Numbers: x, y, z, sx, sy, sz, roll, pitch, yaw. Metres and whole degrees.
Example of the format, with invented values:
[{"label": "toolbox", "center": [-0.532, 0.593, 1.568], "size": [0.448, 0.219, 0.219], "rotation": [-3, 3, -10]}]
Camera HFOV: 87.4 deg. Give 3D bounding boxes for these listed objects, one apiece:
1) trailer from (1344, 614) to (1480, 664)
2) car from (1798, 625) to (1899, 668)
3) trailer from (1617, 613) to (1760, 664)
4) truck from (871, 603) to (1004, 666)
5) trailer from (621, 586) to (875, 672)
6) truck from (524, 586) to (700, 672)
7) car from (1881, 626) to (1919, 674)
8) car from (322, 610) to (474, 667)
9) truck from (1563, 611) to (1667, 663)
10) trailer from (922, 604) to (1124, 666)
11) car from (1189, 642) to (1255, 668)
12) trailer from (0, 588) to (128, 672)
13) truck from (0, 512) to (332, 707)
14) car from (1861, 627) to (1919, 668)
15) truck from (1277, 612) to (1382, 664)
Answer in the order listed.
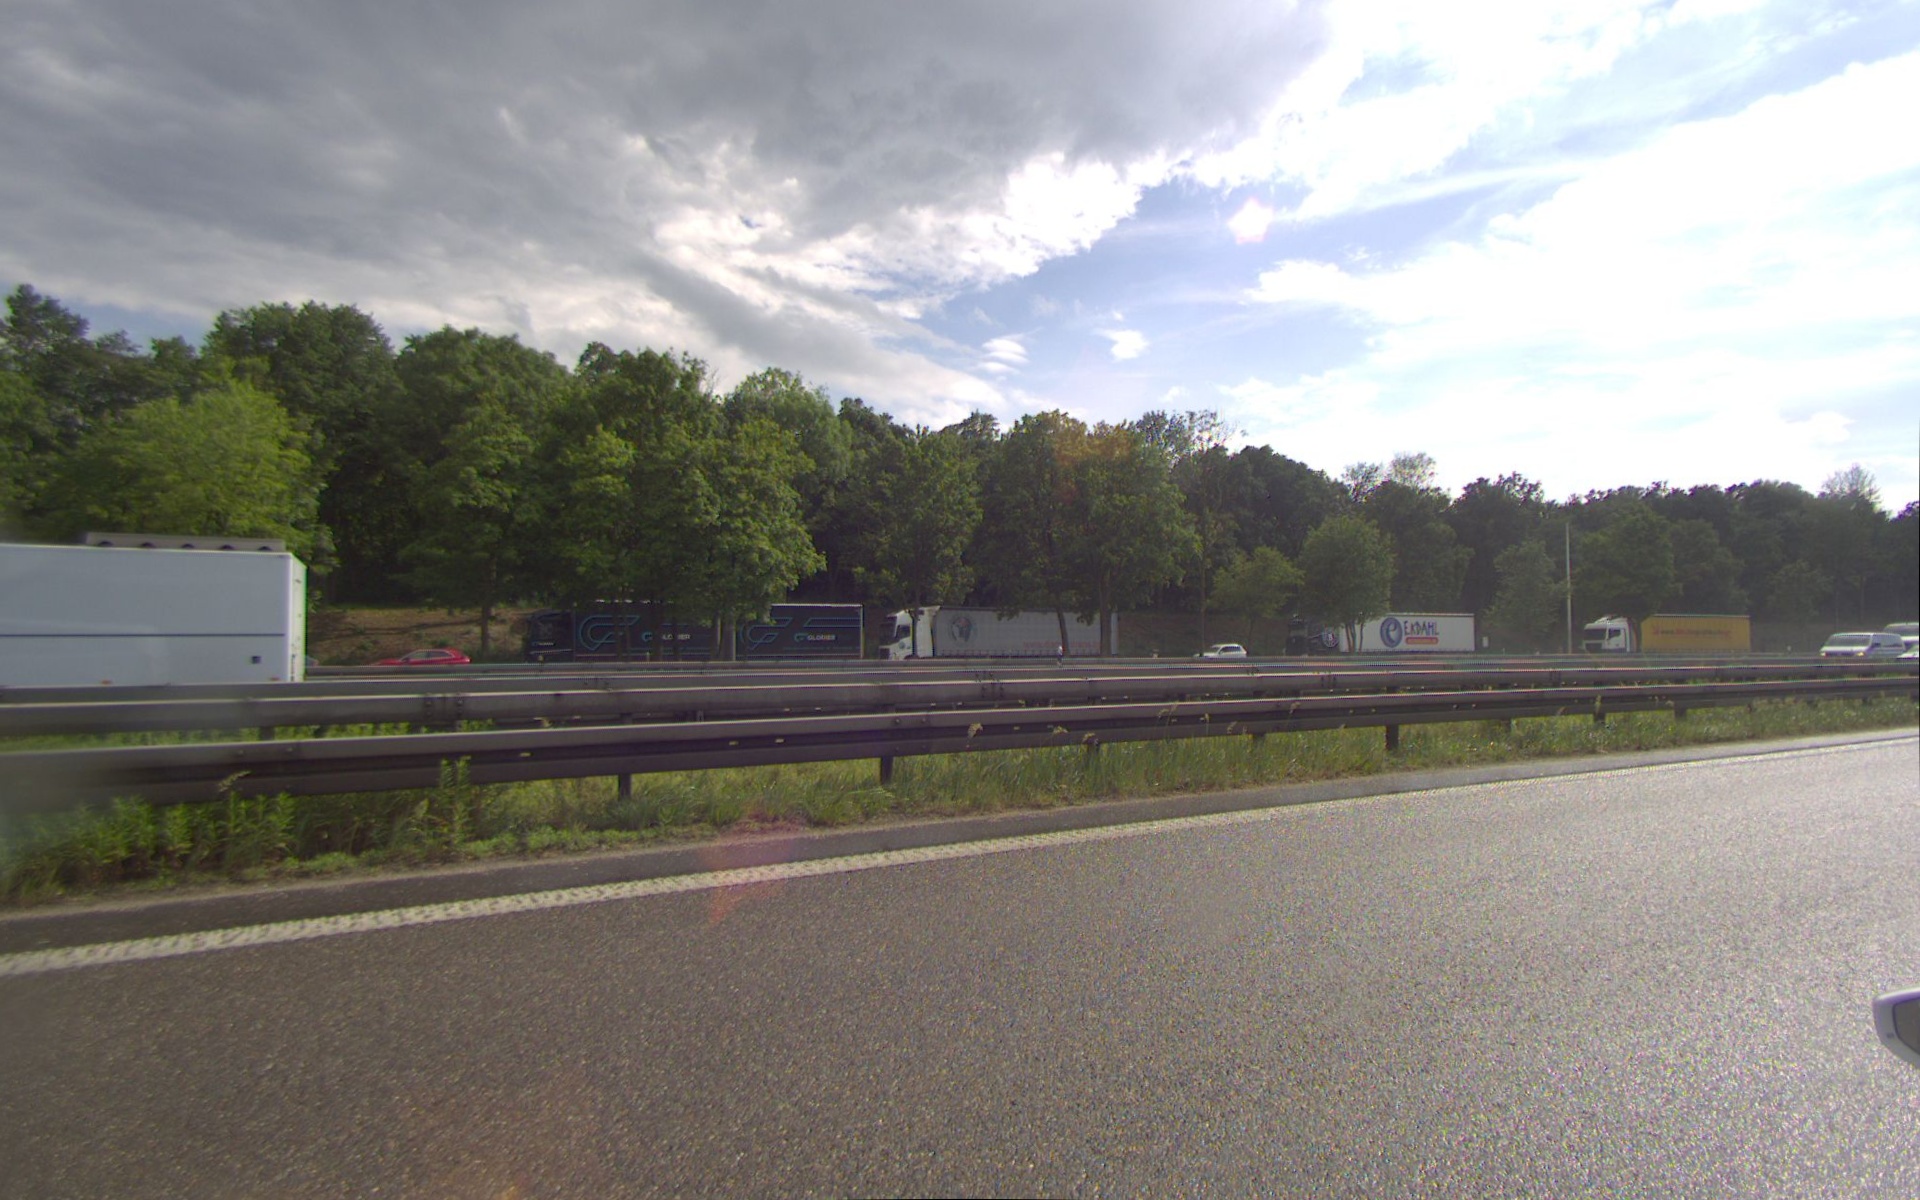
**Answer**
[{"label": "trailer", "center": [35.541, 3.052, 78.959], "size": [10.344, 3.697, 3.782], "rotation": [1, -1, -22]}, {"label": "car", "center": [42.246, 2.205, 47.739], "size": [5.197, 1.916, 2.037], "rotation": [2, 0, -30]}, {"label": "trailer", "center": [64.038, 3.394, 88.296], "size": [11.533, 4.171, 3.788], "rotation": [2, 0, -16]}, {"label": "truck", "center": [-1.401, 2.113, 62.174], "size": [7.265, 3.637, 3.771], "rotation": [2, 0, -29]}, {"label": "trailer", "center": [-11.827, 1.686, 57.081], "size": [13.631, 4.464, 3.773], "rotation": [1, -2, -29]}, {"label": "truck", "center": [-18.450, 1.539, 53.353], "size": [8.315, 4.290, 3.771], "rotation": [2, 0, -29]}, {"label": "car", "center": [41.732, 2.153, 42.923], "size": [5.197, 1.916, 2.037], "rotation": [2, 0, -30]}, {"label": "car", "center": [-26.789, 1.837, 48.119], "size": [6.135, 2.515, 2.781], "rotation": [2, 0, -29]}, {"label": "truck", "center": [56.063, 3.148, 86.030], "size": [6.930, 4.171, 3.788], "rotation": [2, 0, -16]}, {"label": "trailer", "center": [4.225, 2.280, 65.262], "size": [13.180, 3.697, 3.773], "rotation": [1, -2, -29]}, {"label": "car", "center": [18.699, 3.907, 71.741], "size": [4.311, 1.741, 2.051], "rotation": [2, 0, -27]}, {"label": "trailer", "center": [-40.619, 1.149, 38.988], "size": [12.335, 3.259, 3.330], "rotation": [1, -2, -32]}, {"label": "truck", "center": [-13.905, 0.133, 15.321], "size": [7.104, 2.717, 2.830], "rotation": [2, 0, -29]}, {"label": "car", "center": [48.076, 2.397, 50.909], "size": [5.197, 1.916, 2.037], "rotation": [2, 0, -30]}, {"label": "truck", "center": [27.830, 2.856, 75.656], "size": [6.612, 3.709, 3.778], "rotation": [2, 0, -24]}]
